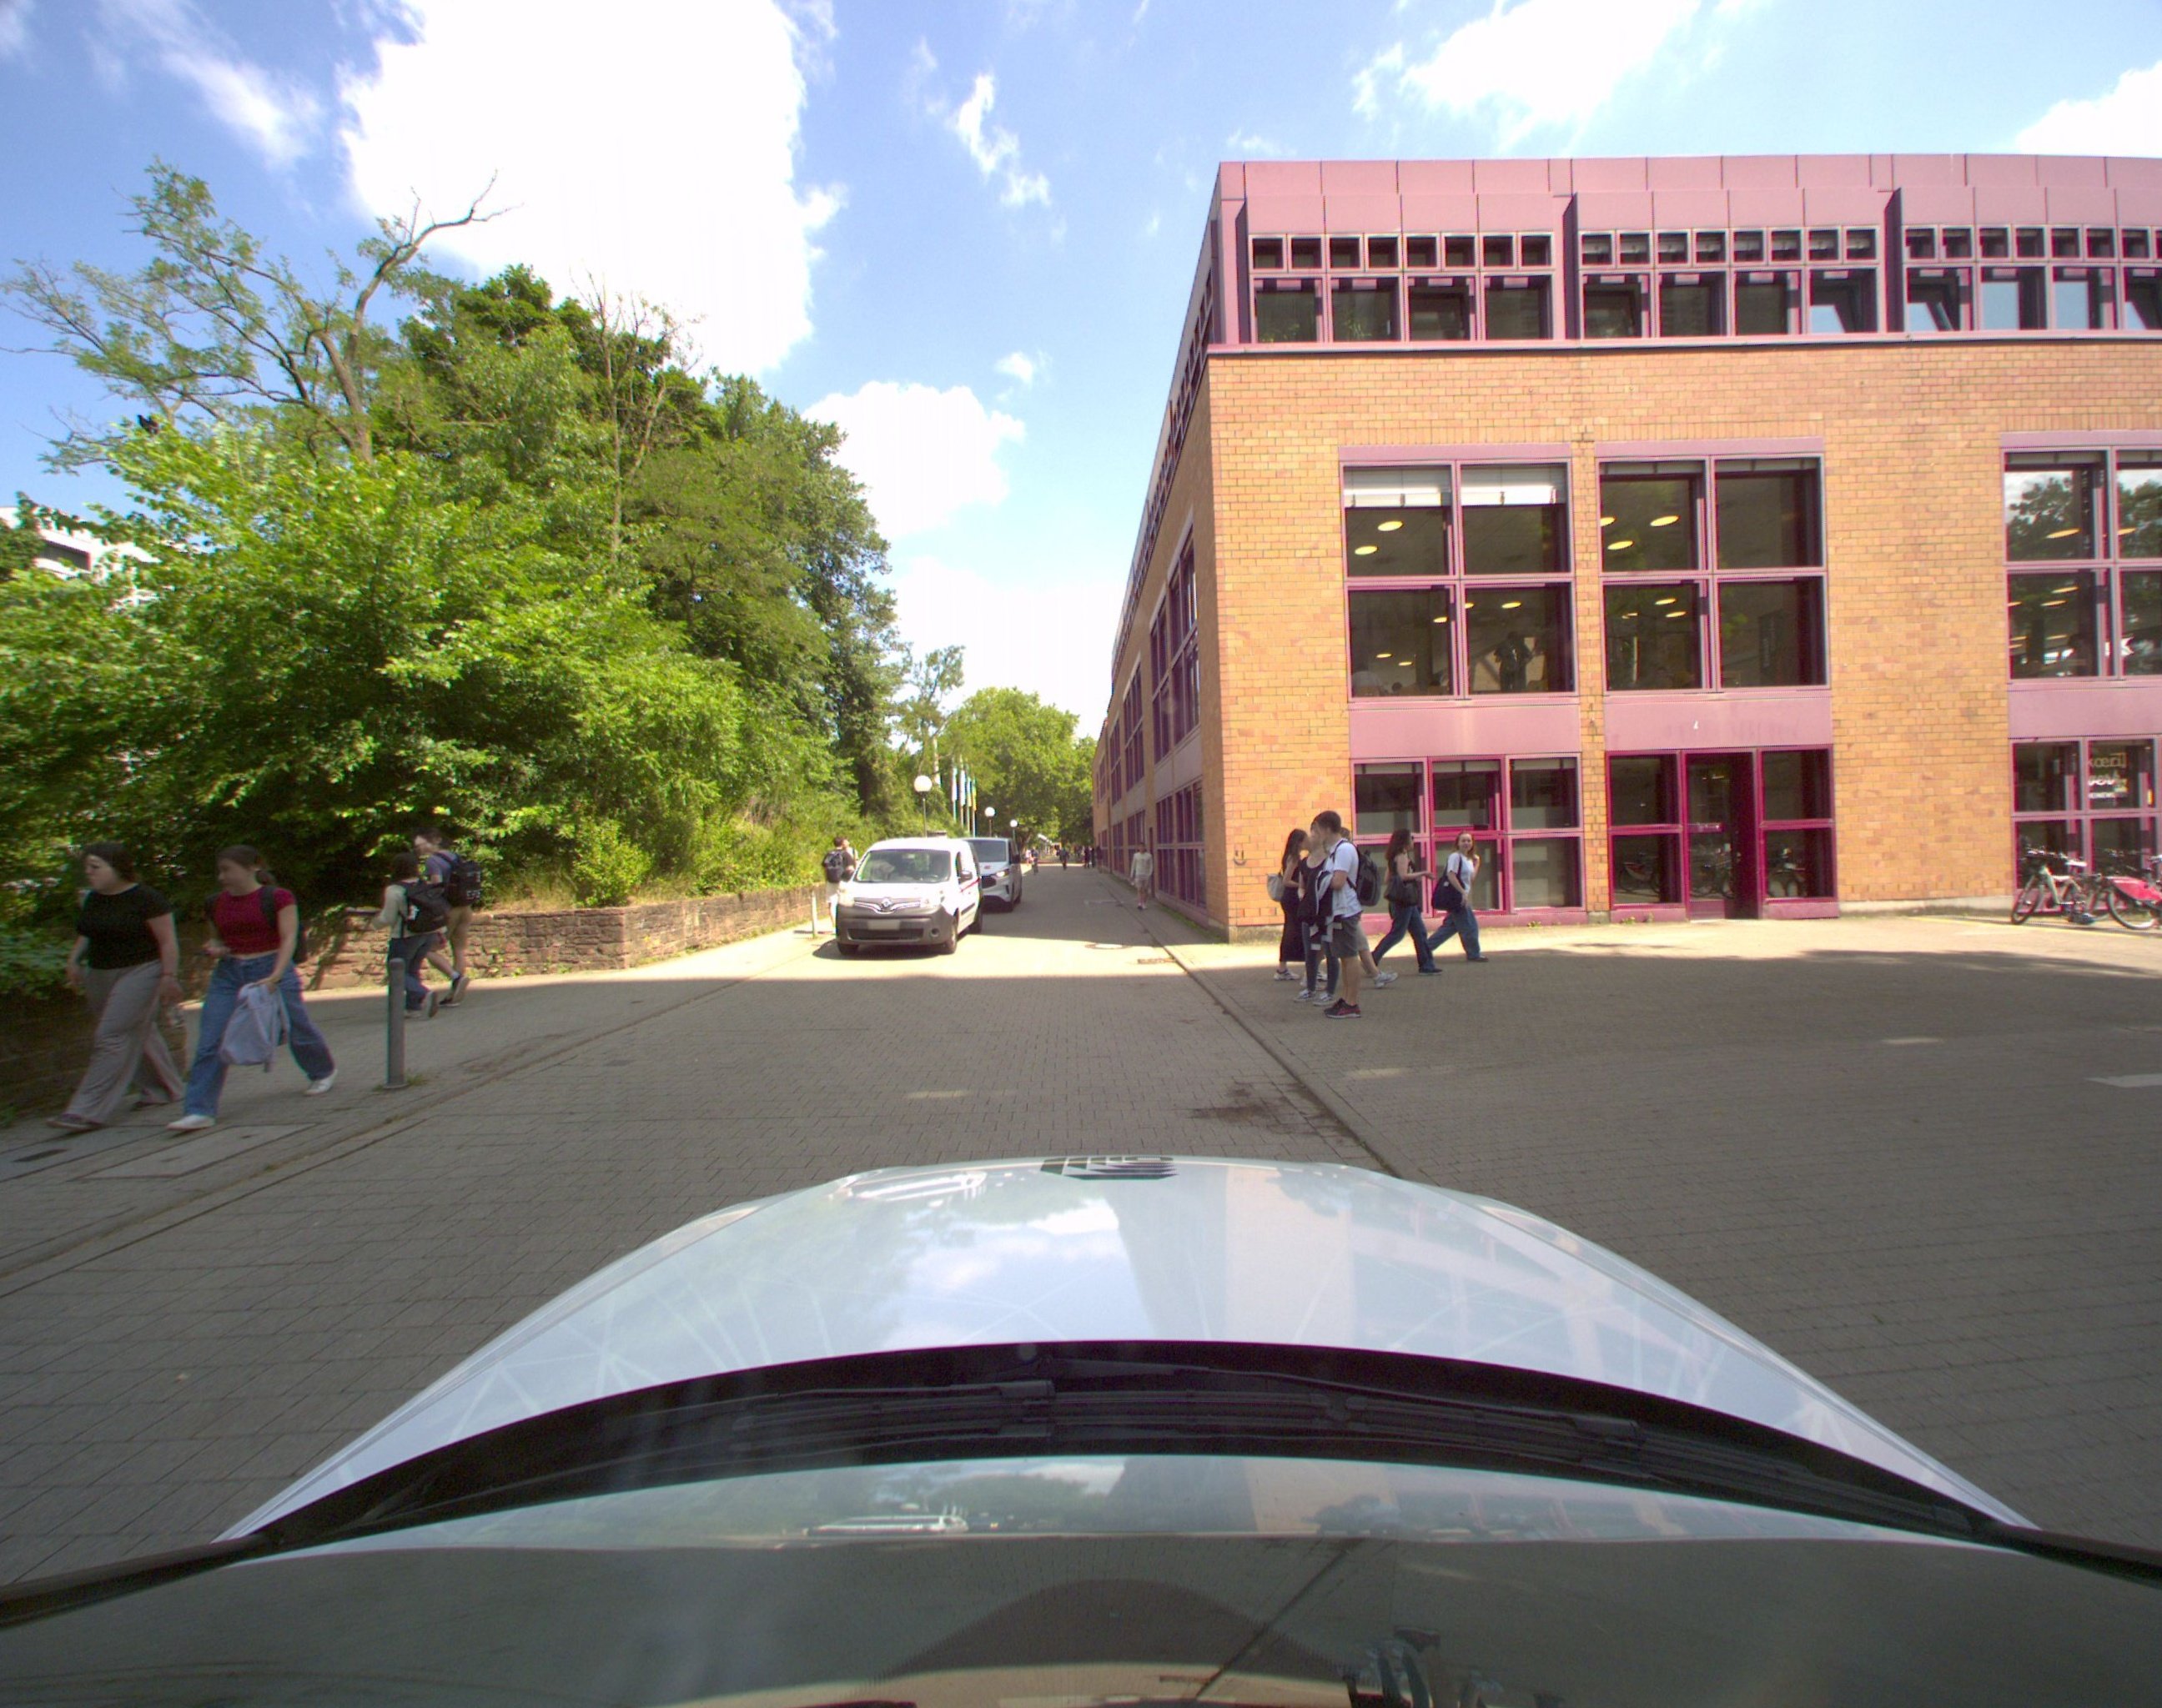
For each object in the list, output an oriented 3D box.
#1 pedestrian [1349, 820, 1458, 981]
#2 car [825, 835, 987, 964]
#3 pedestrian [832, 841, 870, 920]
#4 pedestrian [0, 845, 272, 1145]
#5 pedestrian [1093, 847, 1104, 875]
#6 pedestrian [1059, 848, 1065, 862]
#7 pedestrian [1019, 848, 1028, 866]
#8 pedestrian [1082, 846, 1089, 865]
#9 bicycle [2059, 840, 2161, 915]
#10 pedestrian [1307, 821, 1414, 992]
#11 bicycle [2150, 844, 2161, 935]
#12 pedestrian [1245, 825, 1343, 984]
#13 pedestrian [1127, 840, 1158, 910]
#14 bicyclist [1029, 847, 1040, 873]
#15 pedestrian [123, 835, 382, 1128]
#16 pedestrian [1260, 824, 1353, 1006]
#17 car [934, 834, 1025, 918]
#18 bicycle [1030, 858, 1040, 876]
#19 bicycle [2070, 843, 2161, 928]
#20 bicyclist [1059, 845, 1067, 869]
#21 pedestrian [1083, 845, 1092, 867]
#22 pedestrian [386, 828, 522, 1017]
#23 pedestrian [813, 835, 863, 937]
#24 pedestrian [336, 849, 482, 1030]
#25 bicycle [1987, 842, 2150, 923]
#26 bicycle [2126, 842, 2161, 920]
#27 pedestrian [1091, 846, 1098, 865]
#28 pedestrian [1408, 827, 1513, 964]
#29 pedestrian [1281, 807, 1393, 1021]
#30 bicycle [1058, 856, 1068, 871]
[{"bbox_3d":[3.526,0.502,8.967,0.924,1.672,0.589,-2,-1,6],"label":"pedestrian"},{"bbox_3d":[-2.748,0.632,13.830,1.785,1.761,4.479,-2,0,-1],"label":"car"},{"bbox_3d":[-5.524,0.618,19.575,0.680,1.844,0.783,-1,-1,-1],"label":"pedestrian"},{"bbox_3d":[-5.736,0.774,4.952,0.681,1.620,0.977,-1,-1,-6],"label":"pedestrian"},{"bbox_3d":[1.103,0.449,51.045,0.584,1.672,0.699,-3,-1,0],"label":"pedestrian"},{"bbox_3d":[-2.430,0.139,105.189,0.722,1.672,0.748,-3,-1,0],"label":"pedestrian"},{"bbox_3d":[-5.439,0.288,76.792,0.722,1.672,0.748,-3,-1,0],"label":"pedestrian"},{"bbox_3d":[0.477,0.161,86.836,0.651,1.922,0.817,-3,-1,0],"label":"pedestrian"},{"bbox_3d":[16.192,0.351,12.593,1.804,1.110,0.473,-1,0,-7],"label":"bicycle"},{"bbox_3d":[2.865,0.531,8.406,0.881,1.672,0.560,-2,-1,6],"label":"pedestrian"},{"bbox_3d":[14.137,0.423,9.875,1.806,1.110,0.523,-1,0,-4],"label":"bicycle"},{"bbox_3d":[2.358,0.539,9.089,0.881,1.672,0.644,-3,1,6],"label":"pedestrian"},{"bbox_3d":[1.564,0.532,20.740,0.680,1.747,0.783,-1,-1,-1],"label":"pedestrian"},{"bbox_3d":[-2.888,0.370,50.637,0.586,1.573,0.828,-2,0,-4],"label":"bicyclist"},{"bbox_3d":[-5.046,0.715,5.033,0.681,1.620,0.912,-1,-1,-6],"label":"pedestrian"},{"bbox_3d":[2.168,0.573,7.896,0.693,1.672,0.589,-3,-1,6],"label":"pedestrian"},{"bbox_3d":[-2.643,0.513,22.367,1.878,1.974,5.212,-2,0,-1],"label":"car"},{"bbox_3d":[-2.879,0.787,50.666,0.586,1.083,1.811,-2,0,-4],"label":"bicycle"},{"bbox_3d":[14.431,0.403,10.902,1.804,1.110,0.523,-1,0,-2],"label":"bicycle"},{"bbox_3d":[-1.339,0.233,60.468,0.586,1.716,0.664,-2,0,-5],"label":"bicyclist"},{"bbox_3d":[0.521,0.156,64.585,0.584,1.672,0.817,-3,-1,0],"label":"pedestrian"},{"bbox_3d":[-6.496,0.680,8.474,0.824,1.844,0.684,-2,-1,-4],"label":"pedestrian"},{"bbox_3d":[-4.540,0.579,15.247,0.680,1.844,0.783,-1,-1,-1],"label":"pedestrian"},{"bbox_3d":[-6.422,0.781,7.821,0.779,1.620,0.684,-3,-1,-4],"label":"pedestrian"},{"bbox_3d":[14.223,0.400,11.746,1.805,1.110,0.523,-1,0,-3],"label":"bicycle"},{"bbox_3d":[16.303,0.381,11.860,1.804,1.110,0.473,-1,0,-7],"label":"bicycle"},{"bbox_3d":[1.413,0.178,86.872,0.651,1.922,0.817,-3,-1,0],"label":"pedestrian"},{"bbox_3d":[4.569,0.482,9.871,0.881,1.542,0.744,-4,1,6],"label":"pedestrian"},{"bbox_3d":[2.251,0.519,7.240,0.763,1.794,0.589,-3,-1,6],"label":"pedestrian"},{"bbox_3d":[-1.323,0.714,60.453,0.586,1.083,1.905,-2,0,-4],"label":"bicycle"}]
